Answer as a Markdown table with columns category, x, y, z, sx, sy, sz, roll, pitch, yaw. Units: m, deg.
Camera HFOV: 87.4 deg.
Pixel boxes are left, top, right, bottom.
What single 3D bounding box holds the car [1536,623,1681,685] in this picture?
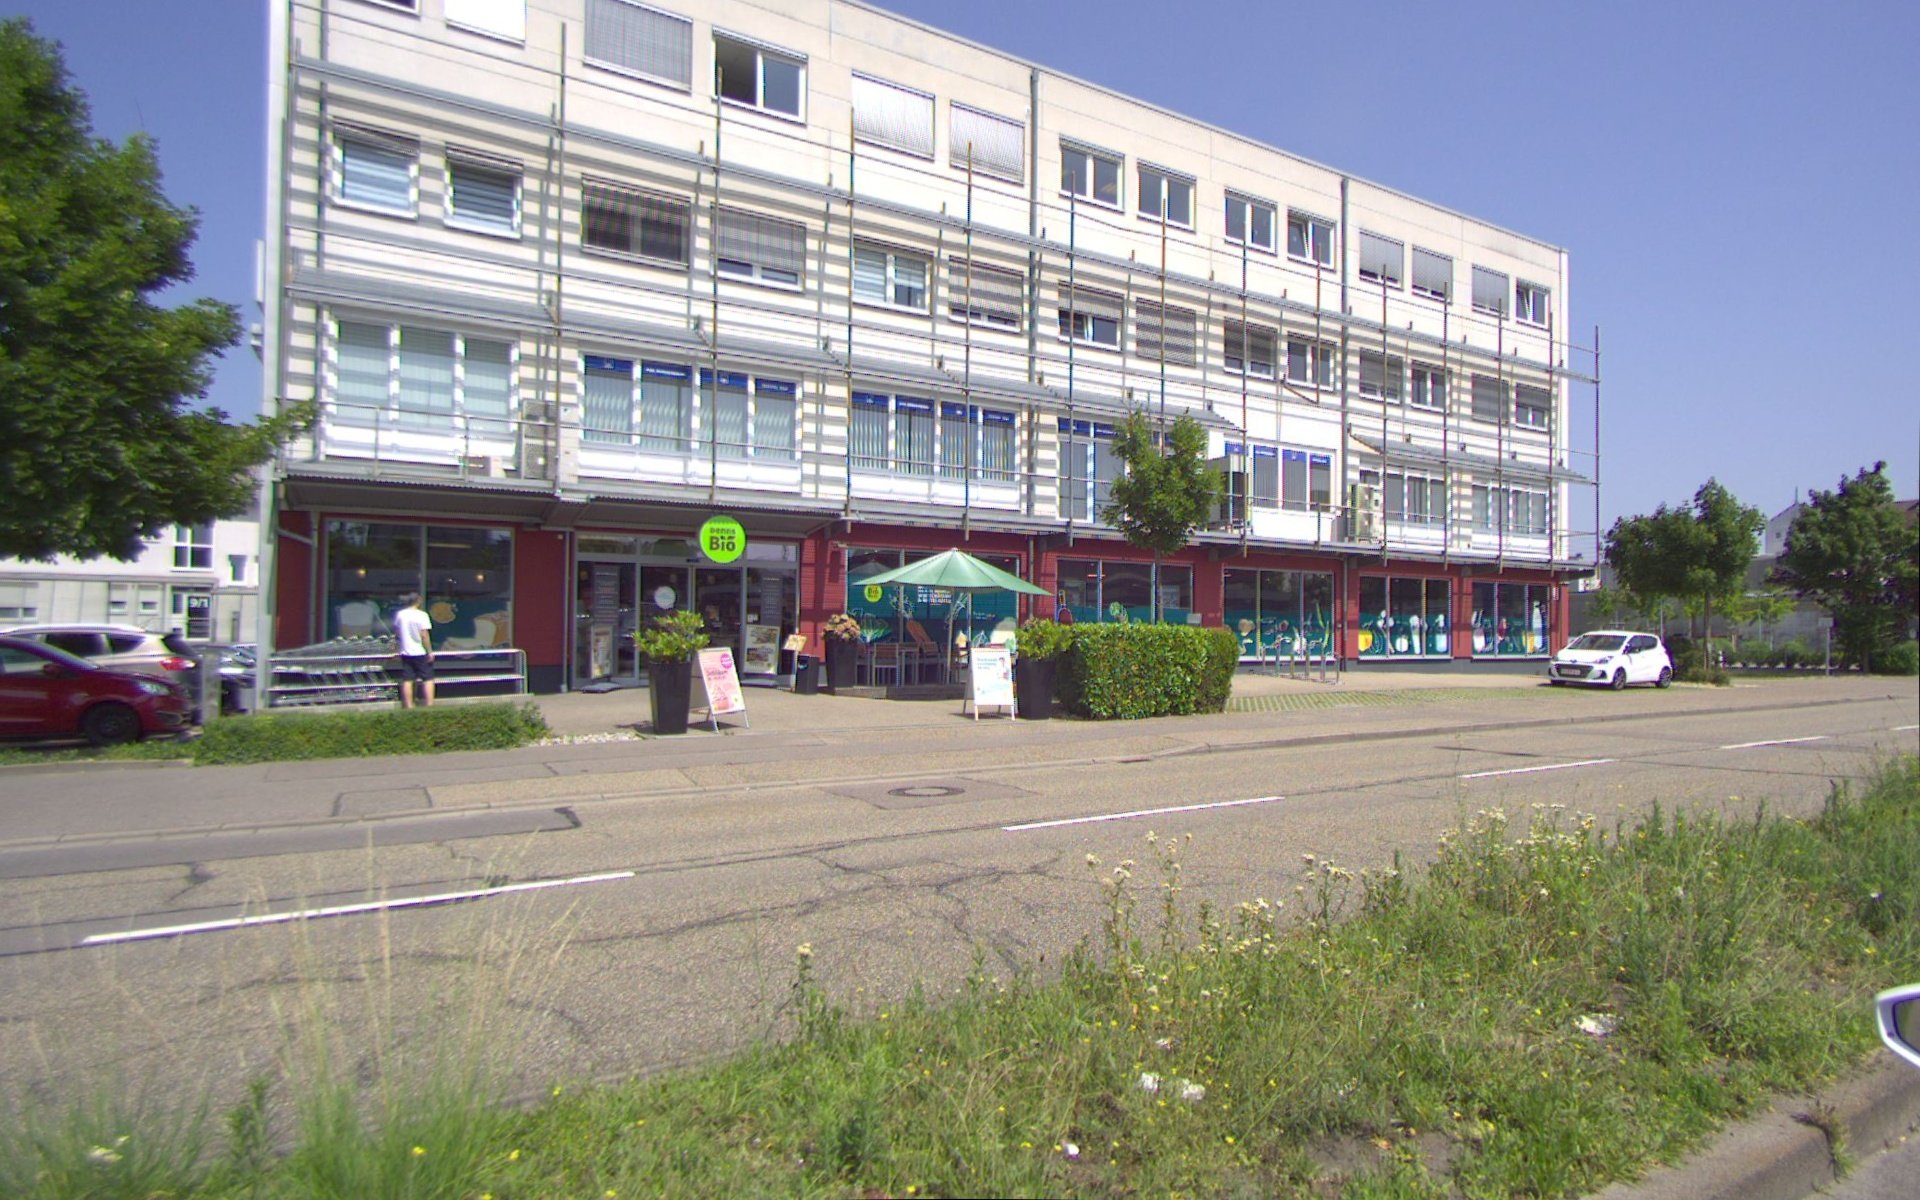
| category | x | y | z | sx | sy | sz | roll | pitch | yaw |
| --- | --- | --- | --- | --- | --- | --- | --- | --- | --- |
| car | 17.359 | 1.425 | 26.868 | 3.996 | 1.514 | 1.670 | 2 | -1 | -31 |

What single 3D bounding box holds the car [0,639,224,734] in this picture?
| category | x | y | z | sx | sy | sz | roll | pitch | yaw |
| --- | --- | --- | --- | --- | --- | --- | --- | --- | --- |
| car | -14.949 | 1.427 | 16.854 | 3.952 | 1.484 | 1.732 | 1 | -4 | -29 |

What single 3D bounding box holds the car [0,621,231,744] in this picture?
| category | x | y | z | sx | sy | sz | roll | pitch | yaw |
| --- | --- | --- | --- | --- | --- | --- | --- | --- | --- |
| car | -14.214 | 1.232 | 15.061 | 5.107 | 1.757 | 1.751 | 1 | -4 | -31 |

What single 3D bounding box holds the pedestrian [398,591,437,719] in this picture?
| category | x | y | z | sx | sy | sz | roll | pitch | yaw |
| --- | --- | --- | --- | --- | --- | --- | --- | --- | --- |
| pedestrian | -8.272 | 0.833 | 15.318 | 0.492 | 1.891 | 0.672 | 1 | -2 | -30 |

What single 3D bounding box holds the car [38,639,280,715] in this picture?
| category | x | y | z | sx | sy | sz | roll | pitch | yaw |
| --- | --- | --- | --- | --- | --- | --- | --- | --- | --- |
| car | -17.669 | 1.665 | 22.414 | 3.953 | 1.554 | 1.691 | 1 | -3 | -31 |

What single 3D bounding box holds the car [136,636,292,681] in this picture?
| category | x | y | z | sx | sy | sz | roll | pitch | yaw |
| --- | --- | --- | --- | --- | --- | --- | --- | --- | --- |
| car | -25.524 | 1.977 | 34.536 | 3.940 | 1.470 | 1.727 | 1 | -2 | -20 |

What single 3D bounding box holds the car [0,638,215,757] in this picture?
| category | x | y | z | sx | sy | sz | roll | pitch | yaw |
| --- | --- | --- | --- | --- | --- | --- | --- | --- | --- |
| car | -12.359 | 1.269 | 13.339 | 3.754 | 1.486 | 1.651 | 1 | -4 | -31 |
